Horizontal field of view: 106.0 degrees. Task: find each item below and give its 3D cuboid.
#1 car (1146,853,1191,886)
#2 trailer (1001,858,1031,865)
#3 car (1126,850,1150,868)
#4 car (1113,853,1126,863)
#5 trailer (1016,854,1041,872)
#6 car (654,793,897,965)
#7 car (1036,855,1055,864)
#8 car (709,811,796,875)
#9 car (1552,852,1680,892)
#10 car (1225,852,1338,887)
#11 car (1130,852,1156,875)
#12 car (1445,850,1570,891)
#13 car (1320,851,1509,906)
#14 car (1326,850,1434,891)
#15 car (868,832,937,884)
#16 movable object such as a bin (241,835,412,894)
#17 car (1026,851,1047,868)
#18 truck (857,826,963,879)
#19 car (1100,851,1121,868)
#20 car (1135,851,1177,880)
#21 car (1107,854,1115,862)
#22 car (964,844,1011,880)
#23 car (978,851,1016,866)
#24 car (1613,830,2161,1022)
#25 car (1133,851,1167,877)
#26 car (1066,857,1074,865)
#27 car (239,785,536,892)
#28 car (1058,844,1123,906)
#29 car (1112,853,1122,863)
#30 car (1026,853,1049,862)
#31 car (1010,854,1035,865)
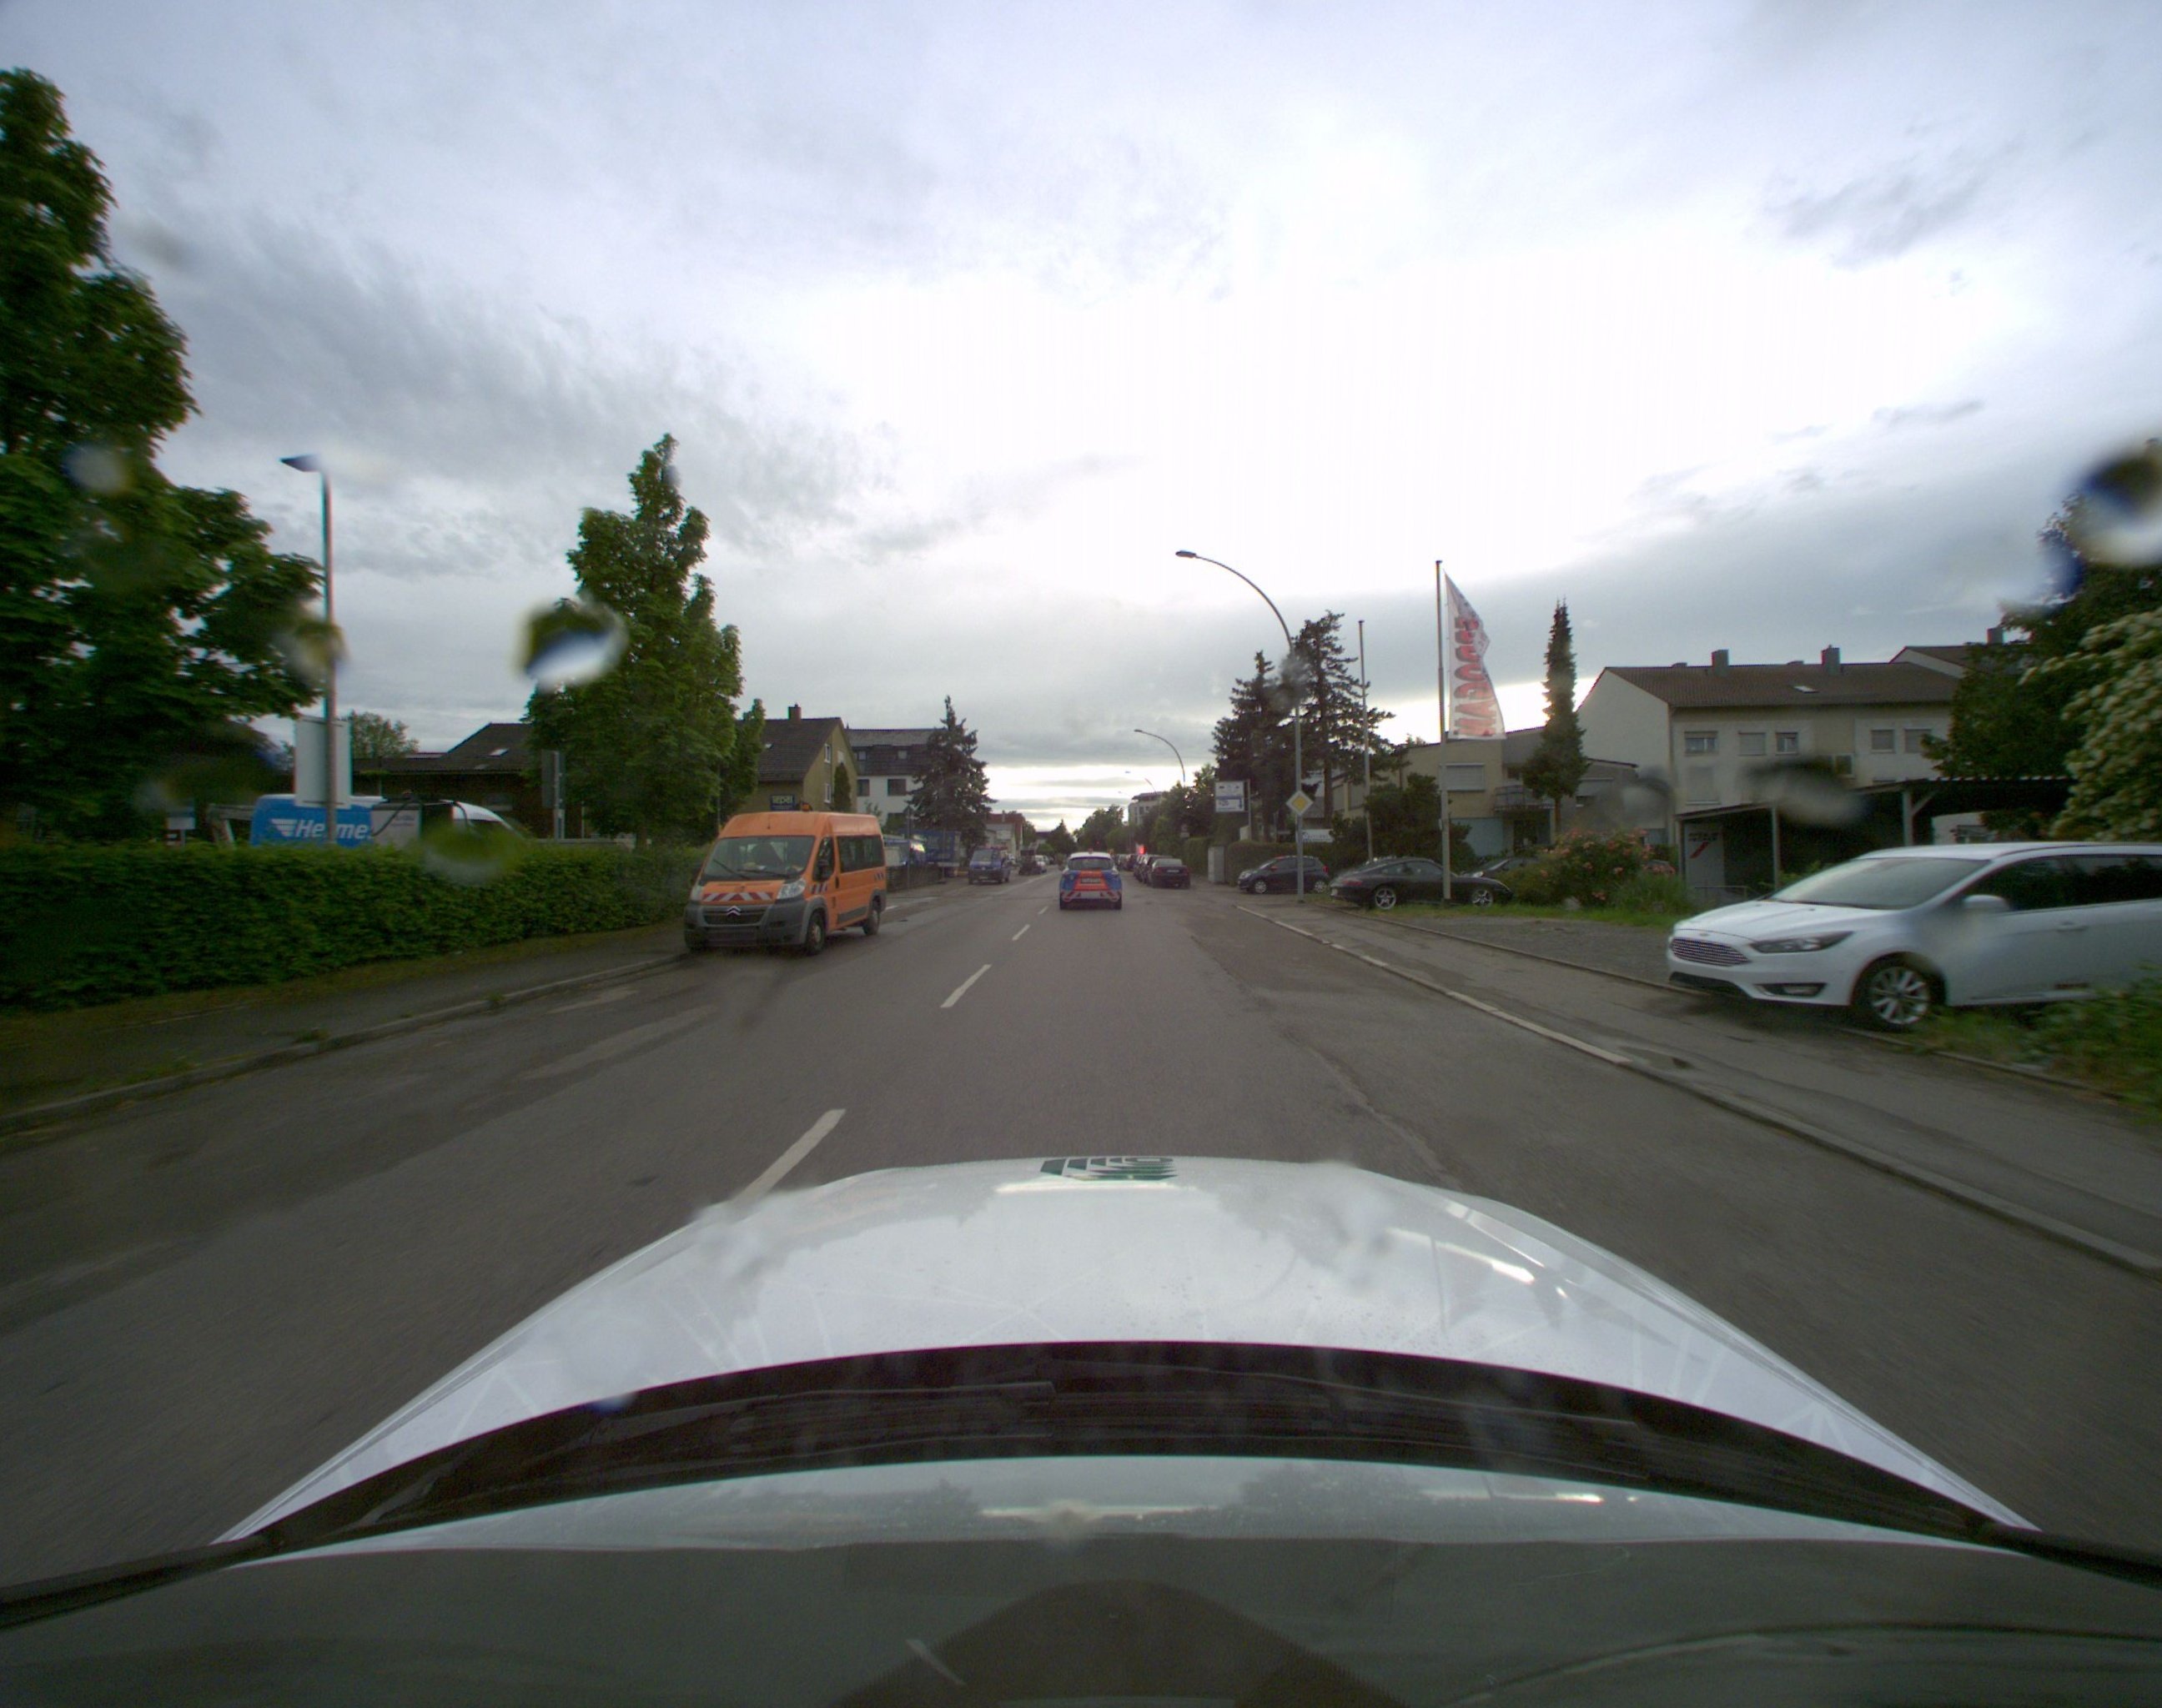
[{"bbox_3d":[3.985,0.676,37.604,1.584,1.341,4.092,2,0,0],"label":"car"},{"bbox_3d":[-8.979,1.052,112.396,4.010,0.995,1.655,1,-1,-1],"label":"trailer"},{"bbox_3d":[4.821,0.455,69.580,1.706,1.438,4.524,1,0,-1],"label":"car"},{"bbox_3d":[5.606,0.583,118.057,1.645,1.522,3.999,1,0,0],"label":"car"},{"bbox_3d":[-4.119,0.692,64.642,1.712,1.260,5.243,1,2,-1],"label":"trailer"},{"bbox_3d":[-5.349,0.365,15.443,2.117,2.537,6.023,-2,0,1],"label":"car"},{"bbox_3d":[-6.207,1.008,141.698,3.274,1.448,1.478,-2,0,-3],"label":"car"},{"bbox_3d":[-16.513,-0.493,41.323,2.067,3.013,5.245,1,-1,2],"label":"car"},{"bbox_3d":[21.113,0.704,32.247,3.822,1.475,1.999,1,-1,-1],"label":"car"},{"bbox_3d":[7.860,0.603,32.158,3.975,1.266,1.950,1,-1,-1],"label":"car"},{"bbox_3d":[4.047,0.581,53.903,1.481,1.439,3.808,1,0,1],"label":"car"},{"bbox_3d":[16.785,0.631,32.191,3.931,1.508,1.943,1,-1,-1],"label":"car"},{"bbox_3d":[8.232,0.591,20.409,3.970,1.266,1.952,1,-1,3],"label":"car"},{"bbox_3d":[11.792,0.628,32.250,3.603,1.538,1.859,1,-1,-1],"label":"car"},{"bbox_3d":[-9.506,0.236,43.957,2.067,2.567,6.204,1,0,2],"label":"car"},{"bbox_3d":[-23.943,0.343,25.973,3.416,1.759,1.996,1,-1,-5],"label":"movable object such as a bin"},{"bbox_3d":[-3.936,0.491,72.367,1.551,1.433,4.001,1,0,1],"label":"car"},{"bbox_3d":[-10.426,-0.083,50.056,5.889,3.073,2.450,1,-1,1],"label":"truck"},{"bbox_3d":[2.580,0.489,72.290,1.645,1.522,3.999,1,0,0],"label":"car"},{"bbox_3d":[3.855,0.589,42.334,1.652,1.419,4.775,1,0,-1],"label":"car"},{"bbox_3d":[6.340,0.836,171.772,1.645,1.483,3.999,1,0,0],"label":"car"},{"bbox_3d":[-5.306,0.475,46.890,1.987,1.947,5.365,0,-1,1],"label":"car"},{"bbox_3d":[-8.778,0.479,85.553,3.748,1.568,1.655,1,-1,-1],"label":"car"},{"bbox_3d":[7.504,0.565,7.244,4.323,1.475,1.903,0,-1,0],"label":"car"},{"bbox_3d":[4.014,0.565,47.834,1.652,1.449,3.829,1,0,1],"label":"car"},{"bbox_3d":[-2.063,1.269,150.674,1.382,1.483,3.783,-1,0,0],"label":"car"},{"bbox_3d":[-14.038,-0.288,16.704,4.290,2.014,2.063,1,-1,1],"label":"car"},{"bbox_3d":[0.271,0.573,23.352,1.726,1.631,3.494,-1,0,0],"label":"car"},{"bbox_3d":[6.172,0.671,139.830,1.645,1.671,3.999,1,0,0],"label":"car"},{"bbox_3d":[-7.173,0.582,133.528,3.645,1.483,1.478,-2,0,-3],"label":"car"},{"bbox_3d":[-8.238,0.794,114.857,3.572,1.526,1.653,1,-1,-3],"label":"car"}]
